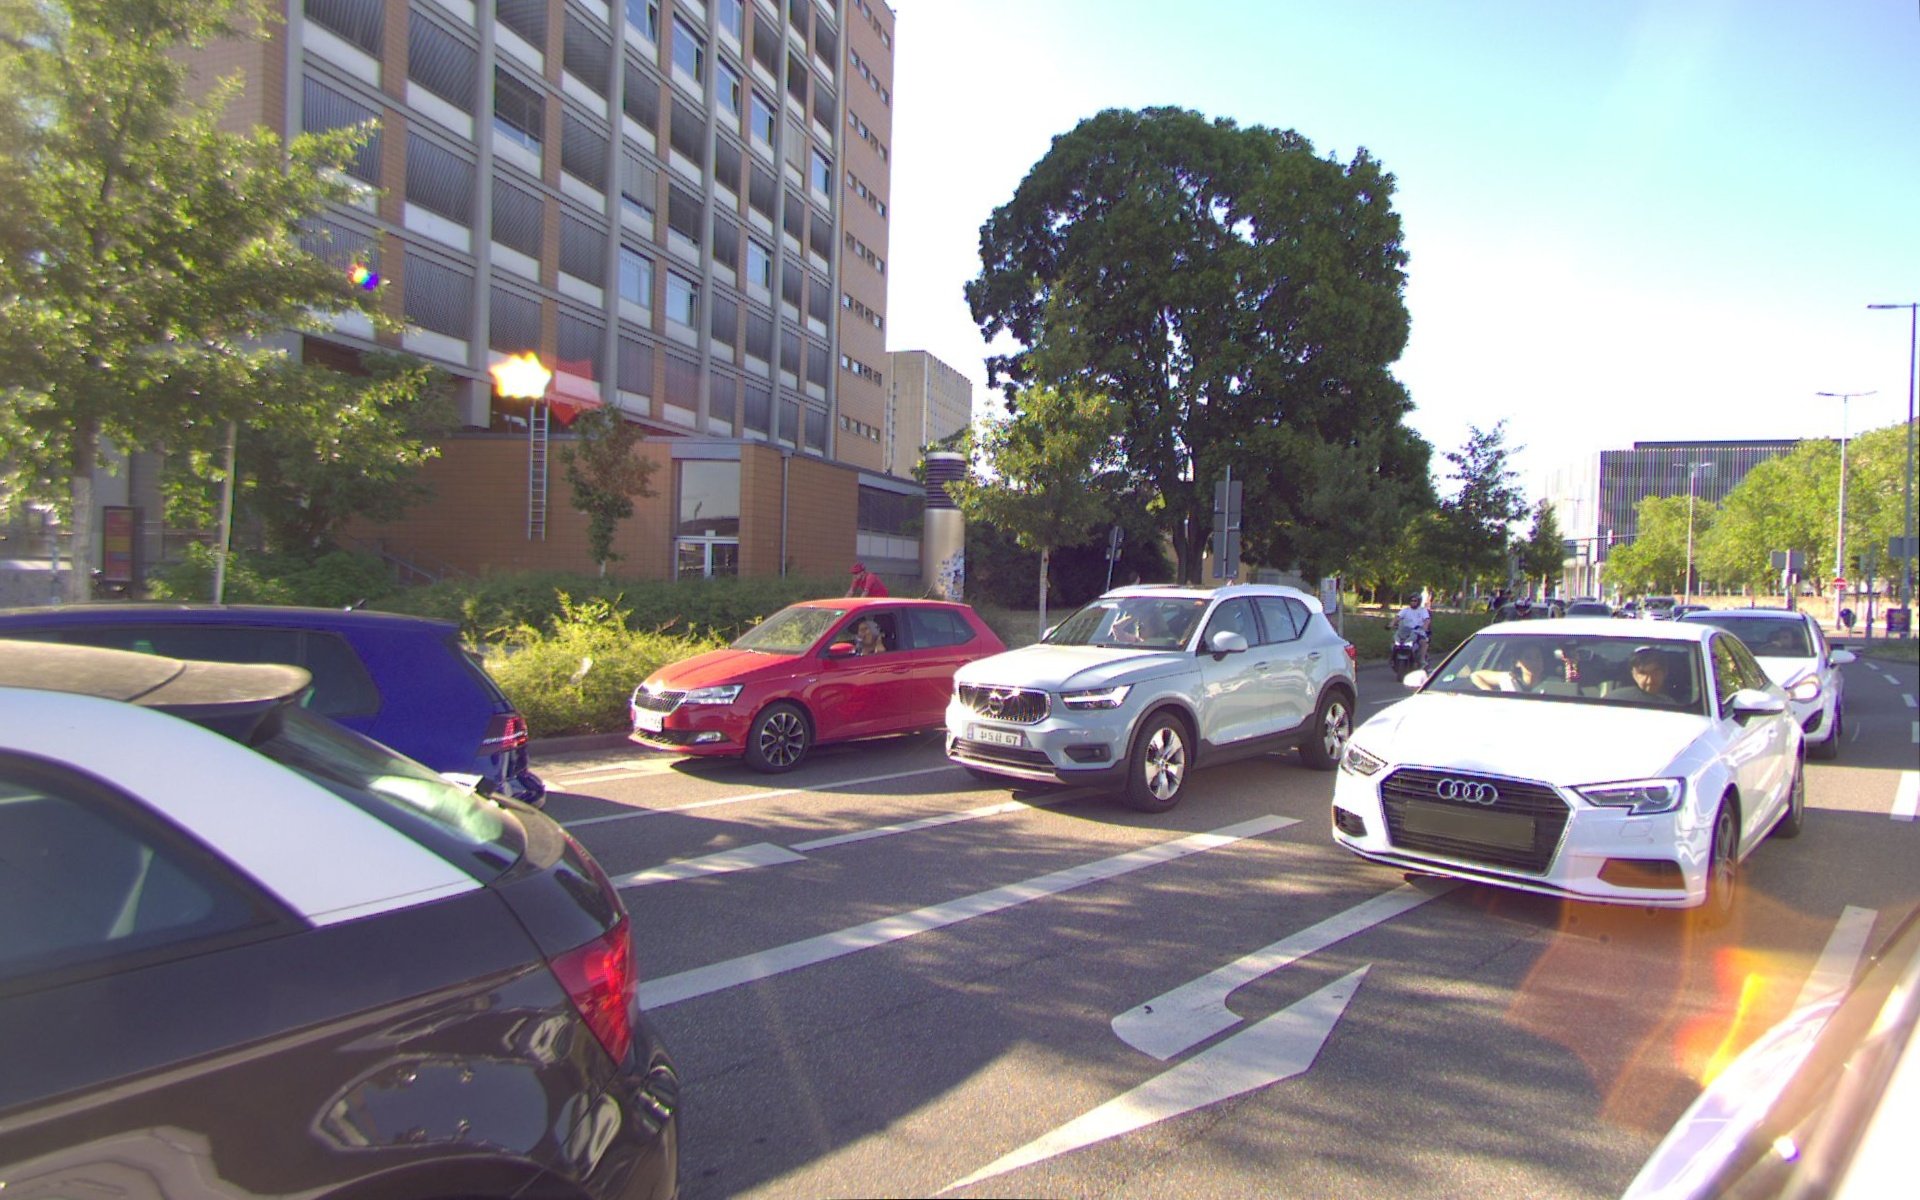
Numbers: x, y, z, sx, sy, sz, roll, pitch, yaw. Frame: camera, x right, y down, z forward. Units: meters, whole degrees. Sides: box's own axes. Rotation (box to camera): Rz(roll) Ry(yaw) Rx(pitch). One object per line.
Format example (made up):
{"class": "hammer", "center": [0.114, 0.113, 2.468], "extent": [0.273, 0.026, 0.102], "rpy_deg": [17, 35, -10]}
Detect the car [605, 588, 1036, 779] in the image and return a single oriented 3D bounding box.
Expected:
{"class": "car", "center": [-1.195, 0.632, 9.848], "extent": [3.974, 1.478, 1.625], "rpy_deg": [-1, 0, -43]}

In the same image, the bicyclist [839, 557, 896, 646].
{"class": "bicyclist", "center": [-1.701, 0.024, 18.623], "extent": [0.615, 1.580, 0.858], "rpy_deg": [0, 0, 42]}

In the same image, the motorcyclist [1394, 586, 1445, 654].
{"class": "motorcyclist", "center": [9.124, 0.388, 20.102], "extent": [0.716, 1.321, 0.723], "rpy_deg": [0, 0, 45]}

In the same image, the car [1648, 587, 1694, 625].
{"class": "car", "center": [37.344, 0.286, 53.205], "extent": [1.867, 1.838, 3.950], "rpy_deg": [2, 1, 35]}

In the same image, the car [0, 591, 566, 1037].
{"class": "car", "center": [-3.729, 0.687, 3.756], "extent": [3.930, 1.422, 1.626], "rpy_deg": [-1, 0, -41]}

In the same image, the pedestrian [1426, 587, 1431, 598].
{"class": "pedestrian", "center": [62.426, -0.959, 134.866], "extent": [0.477, 1.504, 0.409], "rpy_deg": [1, 1, -41]}

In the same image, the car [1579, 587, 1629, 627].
{"class": "car", "center": [31.815, 0.301, 49.956], "extent": [1.867, 1.838, 3.950], "rpy_deg": [2, 1, 35]}

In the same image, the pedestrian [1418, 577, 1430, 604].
{"class": "pedestrian", "center": [26.355, -0.546, 57.450], "extent": [0.543, 1.549, 0.598], "rpy_deg": [0, 0, 30]}

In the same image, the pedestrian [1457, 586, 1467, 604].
{"class": "pedestrian", "center": [55.478, -0.535, 111.775], "extent": [0.828, 2.039, 1.061], "rpy_deg": [0, 0, 19]}

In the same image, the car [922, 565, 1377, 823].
{"class": "car", "center": [1.770, 0.572, 8.463], "extent": [4.153, 1.641, 1.625], "rpy_deg": [-1, 0, -43]}

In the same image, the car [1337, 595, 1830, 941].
{"class": "car", "center": [3.942, 0.692, 6.123], "extent": [3.769, 1.422, 1.625], "rpy_deg": [-1, 0, -43]}

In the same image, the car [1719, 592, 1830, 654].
{"class": "car", "center": [23.051, 0.585, 28.795], "extent": [1.731, 1.564, 3.960], "rpy_deg": [2, 1, 29]}

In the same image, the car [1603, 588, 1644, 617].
{"class": "car", "center": [41.798, 0.141, 63.805], "extent": [1.730, 1.727, 3.961], "rpy_deg": [2, 1, 28]}

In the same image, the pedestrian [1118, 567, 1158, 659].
{"class": "pedestrian", "center": [3.763, 0.261, 21.358], "extent": [0.681, 1.910, 0.465], "rpy_deg": [0, 0, -24]}

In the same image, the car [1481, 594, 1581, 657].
{"class": "car", "center": [15.597, 0.629, 27.564], "extent": [1.738, 1.544, 3.943], "rpy_deg": [2, 2, 39]}

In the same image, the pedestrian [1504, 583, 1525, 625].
{"class": "pedestrian", "center": [21.341, 0.156, 38.938], "extent": [0.593, 1.615, 0.586], "rpy_deg": [0, 0, 41]}

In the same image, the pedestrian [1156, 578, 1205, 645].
{"class": "pedestrian", "center": [5.878, 0.284, 26.960], "extent": [1.005, 1.742, 0.873], "rpy_deg": [0, 0, 39]}

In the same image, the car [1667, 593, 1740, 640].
{"class": "car", "center": [30.377, 0.624, 41.455], "extent": [1.730, 1.727, 3.962], "rpy_deg": [2, 1, 27]}

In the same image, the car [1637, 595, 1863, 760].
{"class": "car", "center": [8.869, 0.692, 11.229], "extent": [1.623, 1.478, 3.979], "rpy_deg": [0, 1, 43]}

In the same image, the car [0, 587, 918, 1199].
{"class": "car", "center": [-2.087, 0.703, 1.223], "extent": [3.930, 1.422, 1.626], "rpy_deg": [-1, 0, -41]}

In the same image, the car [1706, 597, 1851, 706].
{"class": "car", "center": [13.108, 0.714, 16.124], "extent": [1.622, 1.478, 3.981], "rpy_deg": [0, 0, 42]}

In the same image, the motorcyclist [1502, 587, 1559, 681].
{"class": "motorcyclist", "center": [10.065, 0.583, 17.851], "extent": [0.709, 1.610, 0.679], "rpy_deg": [0, 0, 45]}

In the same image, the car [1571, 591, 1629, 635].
{"class": "car", "center": [24.799, 0.472, 39.159], "extent": [1.735, 1.564, 3.950], "rpy_deg": [2, 1, 34]}

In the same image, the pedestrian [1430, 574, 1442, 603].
{"class": "pedestrian", "center": [26.900, -0.676, 57.188], "extent": [0.543, 1.627, 0.598], "rpy_deg": [0, 0, 30]}

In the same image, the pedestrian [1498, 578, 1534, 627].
{"class": "pedestrian", "center": [23.730, 0.103, 43.204], "extent": [1.137, 2.039, 1.268], "rpy_deg": [0, 0, 39]}

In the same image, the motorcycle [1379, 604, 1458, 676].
{"class": "motorcycle", "center": [9.111, 0.763, 20.064], "extent": [0.716, 1.321, 2.199], "rpy_deg": [0, 0, 44]}

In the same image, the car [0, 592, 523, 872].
{"class": "car", "center": [-5.194, 0.673, 6.072], "extent": [4.433, 1.422, 1.726], "rpy_deg": [-1, 0, -41]}

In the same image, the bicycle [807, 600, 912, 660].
{"class": "bicycle", "center": [-1.814, 0.517, 18.501], "extent": [0.657, 0.975, 2.005], "rpy_deg": [2, 2, 41]}

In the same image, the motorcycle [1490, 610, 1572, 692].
{"class": "motorcycle", "center": [10.117, 0.856, 17.893], "extent": [0.716, 1.321, 2.199], "rpy_deg": [0, 0, 44]}
